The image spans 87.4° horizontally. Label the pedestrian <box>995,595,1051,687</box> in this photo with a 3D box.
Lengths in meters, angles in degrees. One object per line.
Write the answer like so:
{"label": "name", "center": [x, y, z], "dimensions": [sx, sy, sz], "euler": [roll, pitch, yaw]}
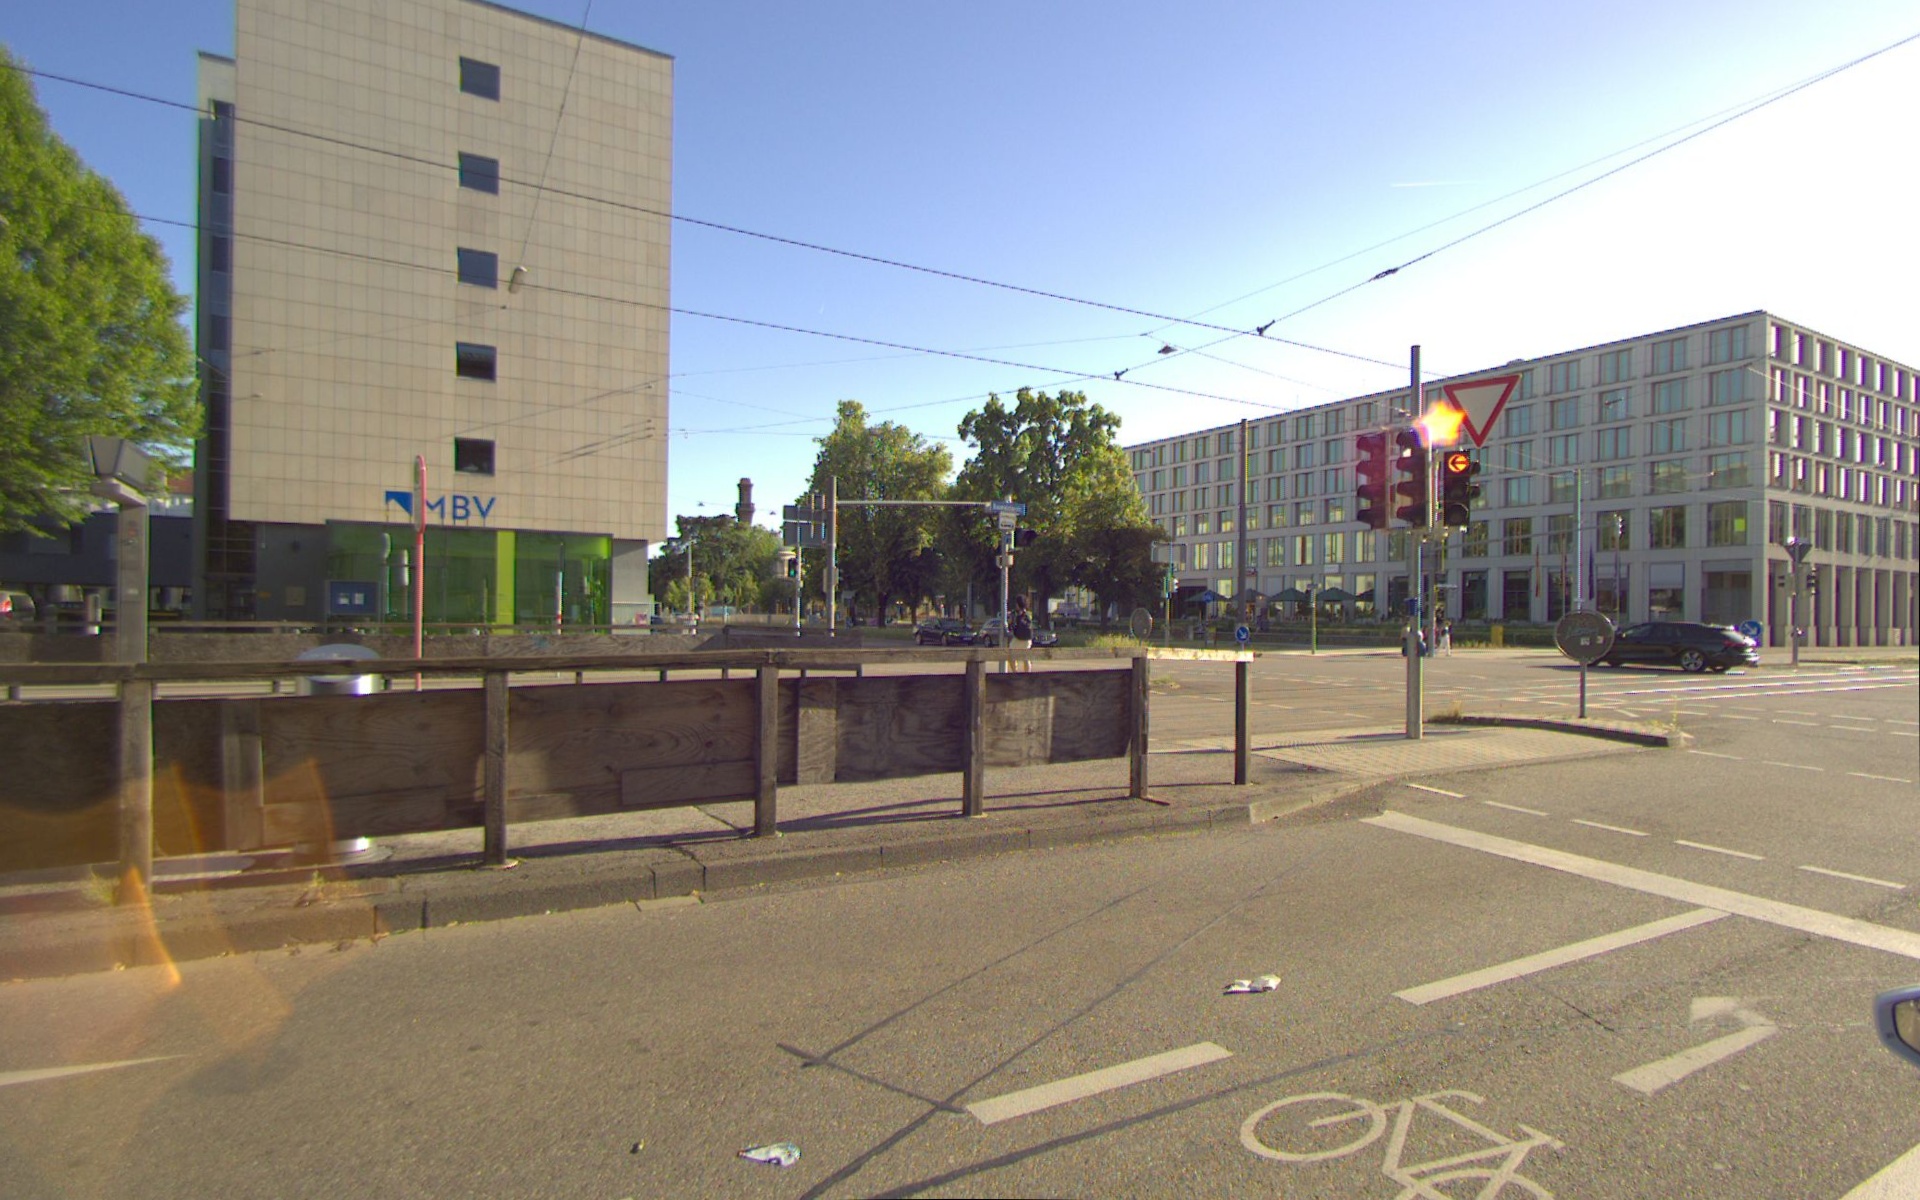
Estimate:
{"label": "pedestrian", "center": [1.232, 0.796, 19.681], "dimensions": [0.819, 1.739, 0.753], "euler": [1, -1, -34]}

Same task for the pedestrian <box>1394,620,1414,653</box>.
{"label": "pedestrian", "center": [22.609, 1.841, 51.111], "dimensions": [0.612, 1.666, 0.692], "euler": [1, -1, -23]}

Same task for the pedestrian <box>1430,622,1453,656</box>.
{"label": "pedestrian", "center": [23.757, 1.904, 49.570], "dimensions": [0.615, 1.666, 0.787], "euler": [1, -1, -34]}

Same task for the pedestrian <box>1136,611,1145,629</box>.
{"label": "pedestrian", "center": [17.057, 1.859, 94.989], "dimensions": [0.556, 1.691, 0.537], "euler": [2, 0, -33]}

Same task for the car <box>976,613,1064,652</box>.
{"label": "car", "center": [2.802, 1.518, 47.787], "dimensions": [1.833, 1.602, 4.486], "euler": [1, 1, -34]}

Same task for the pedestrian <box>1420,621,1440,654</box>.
{"label": "pedestrian", "center": [23.868, 1.881, 51.027], "dimensions": [0.615, 1.666, 0.690], "euler": [1, -1, -34]}

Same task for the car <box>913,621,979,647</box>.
{"label": "car", "center": [-0.796, 1.791, 53.721], "dimensions": [1.755, 1.311, 4.209], "euler": [1, -1, -30]}

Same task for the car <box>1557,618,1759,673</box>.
{"label": "car", "center": [21.319, 1.348, 30.905], "dimensions": [1.978, 1.433, 4.710], "euler": [4, -2, -31]}

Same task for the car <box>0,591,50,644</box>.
{"label": "car", "center": [-27.720, 0.453, 27.787], "dimensions": [3.371, 1.431, 1.562], "euler": [2, 0, -20]}
